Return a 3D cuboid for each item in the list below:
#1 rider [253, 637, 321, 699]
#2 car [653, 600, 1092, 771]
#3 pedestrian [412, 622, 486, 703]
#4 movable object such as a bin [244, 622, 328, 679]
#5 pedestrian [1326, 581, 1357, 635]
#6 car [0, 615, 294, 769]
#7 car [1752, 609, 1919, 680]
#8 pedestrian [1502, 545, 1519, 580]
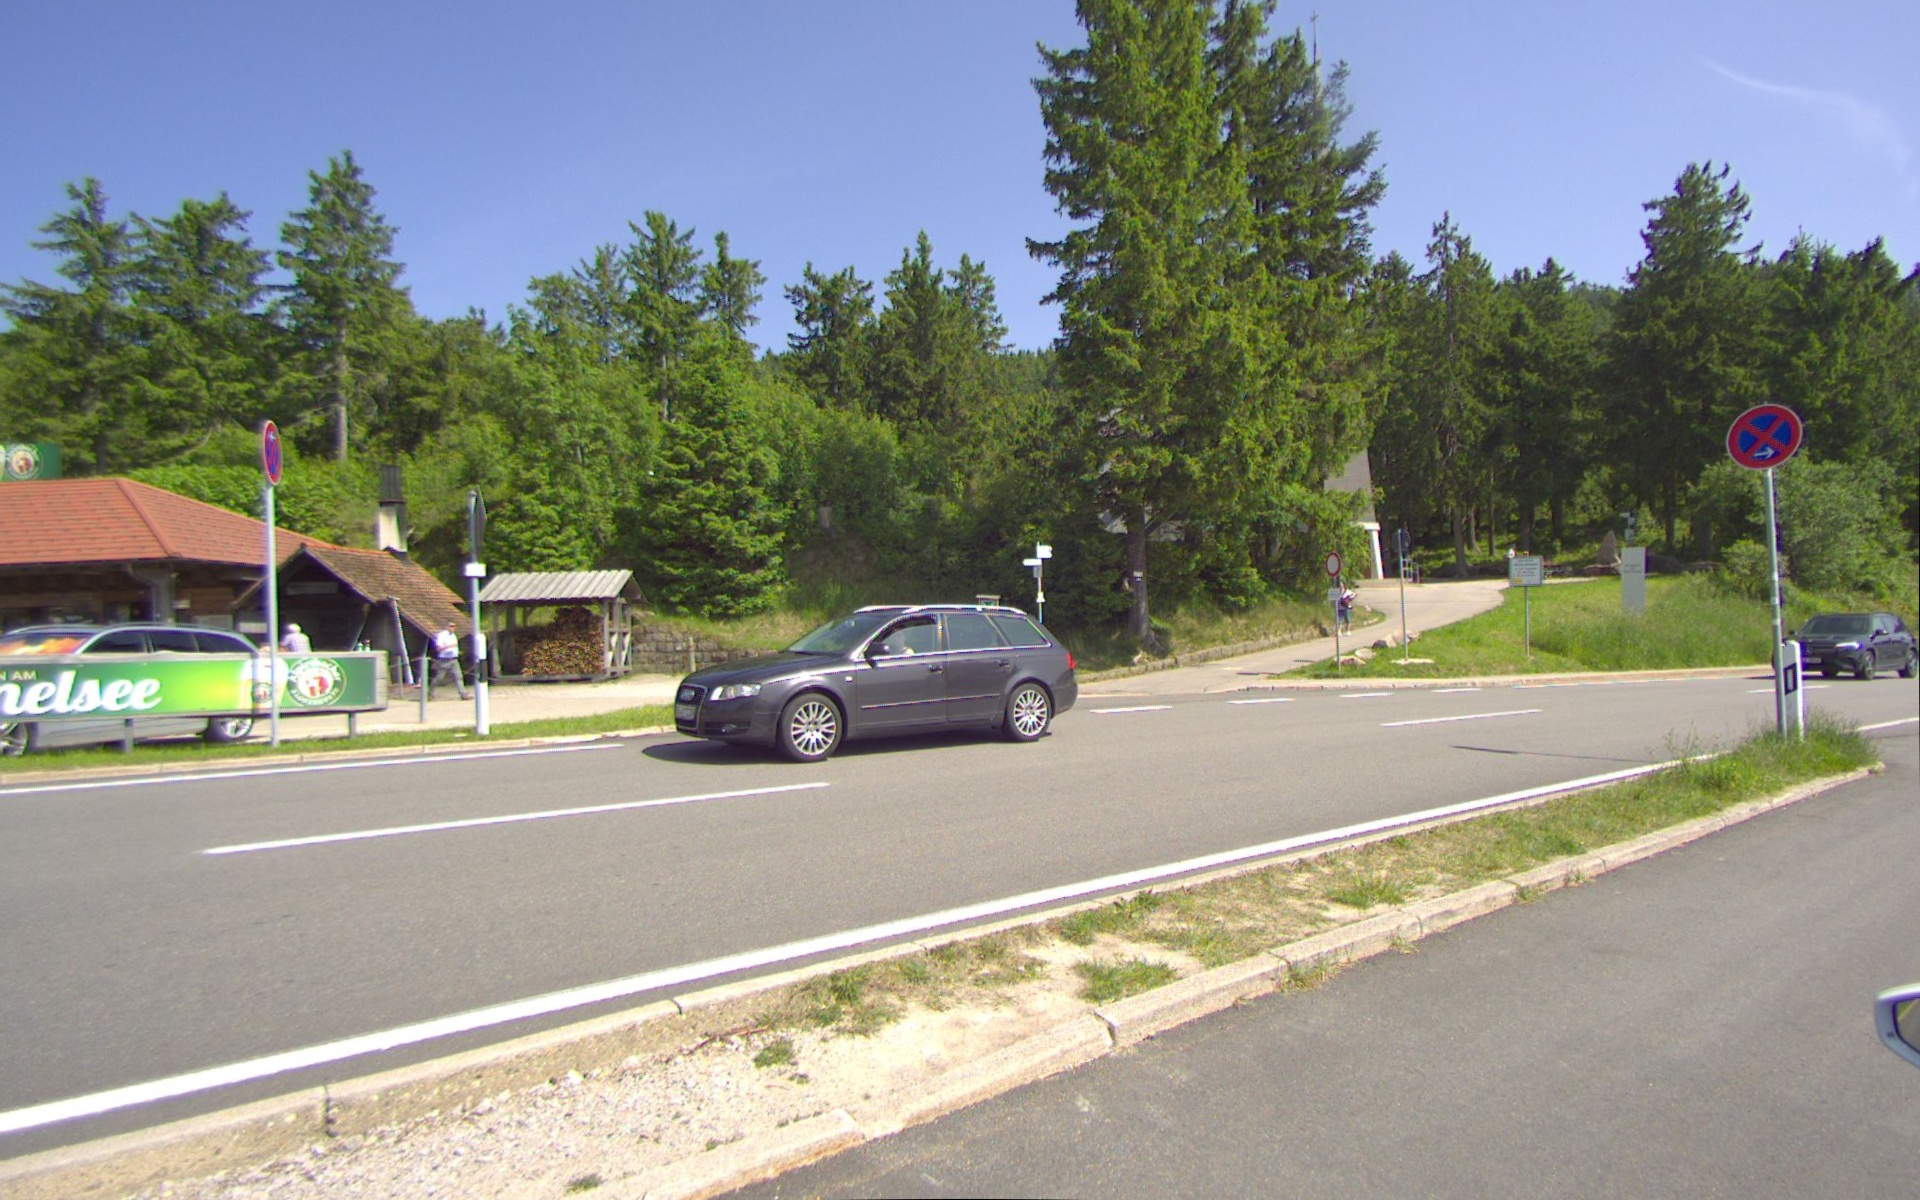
[{"bbox_3d":[-14.622,1.464,21.845,0.891,1.291,0.840,-1,-1,14],"label":"rider"},{"bbox_3d":[-0.780,0.776,10.576,4.408,1.457,1.694,1,-2,-37],"label":"car"},{"bbox_3d":[-11.247,1.367,22.139,1.139,1.721,0.979,-1,-2,-1],"label":"pedestrian"},{"bbox_3d":[-14.670,1.091,21.883,1.192,1.204,0.984,-1,-1,14],"label":"movable object such as a bin"},{"bbox_3d":[12.120,0.264,31.911,0.711,1.703,0.679,-2,-2,42],"label":"pedestrian"},{"bbox_3d":[-9.739,0.935,10.960,1.687,1.449,4.506,-1,-2,5],"label":"car"},{"bbox_3d":[22.265,1.089,25.471,4.515,1.669,1.984,1,-2,-31],"label":"car"},{"bbox_3d":[30.853,-2.091,56.276,0.531,1.902,0.683,0,-1,0],"label":"pedestrian"}]
